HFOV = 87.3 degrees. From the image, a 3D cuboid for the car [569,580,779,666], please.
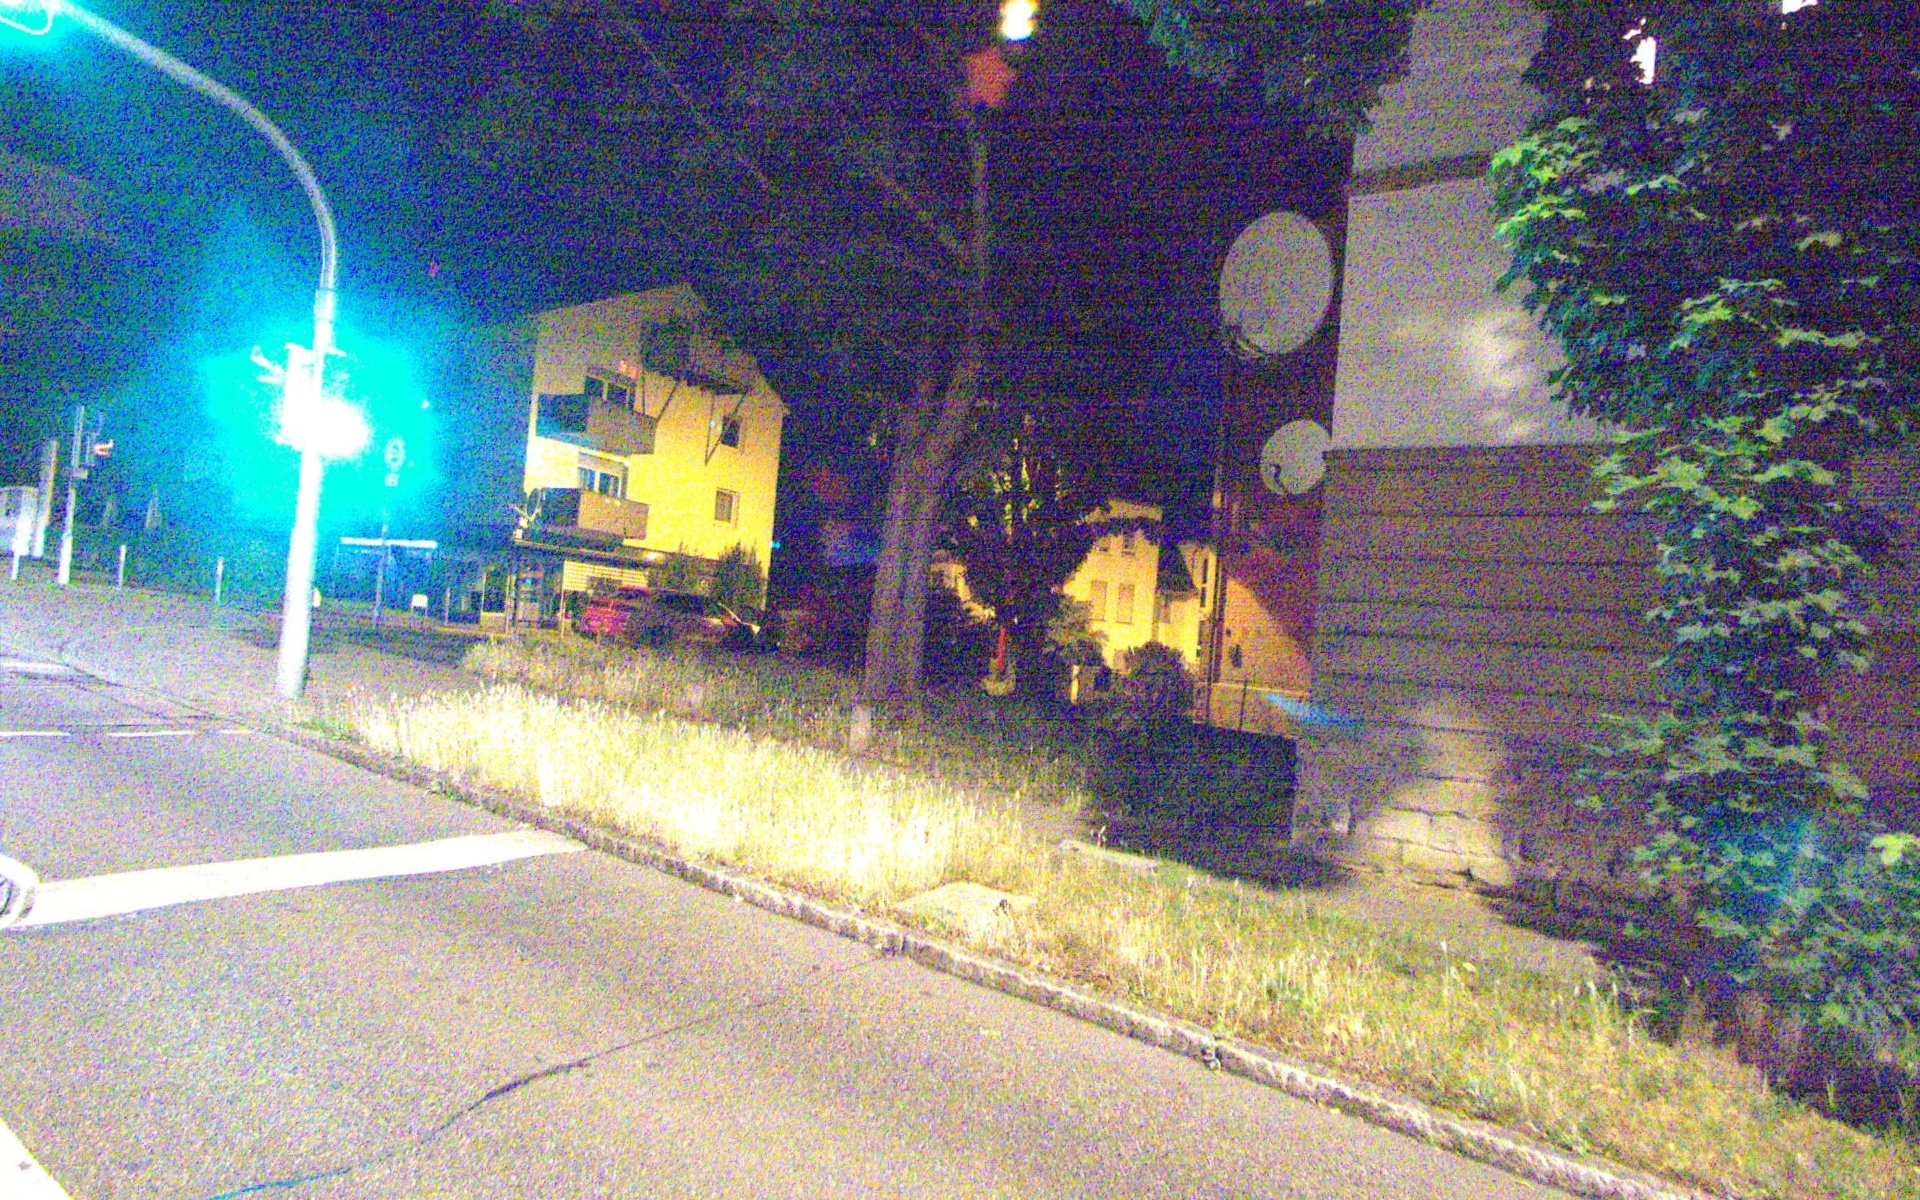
[{"bbox_3d":[-6.502,0.585,23.292,1.778,1.577,4.366,3,-3,38],"label":"car"}]
